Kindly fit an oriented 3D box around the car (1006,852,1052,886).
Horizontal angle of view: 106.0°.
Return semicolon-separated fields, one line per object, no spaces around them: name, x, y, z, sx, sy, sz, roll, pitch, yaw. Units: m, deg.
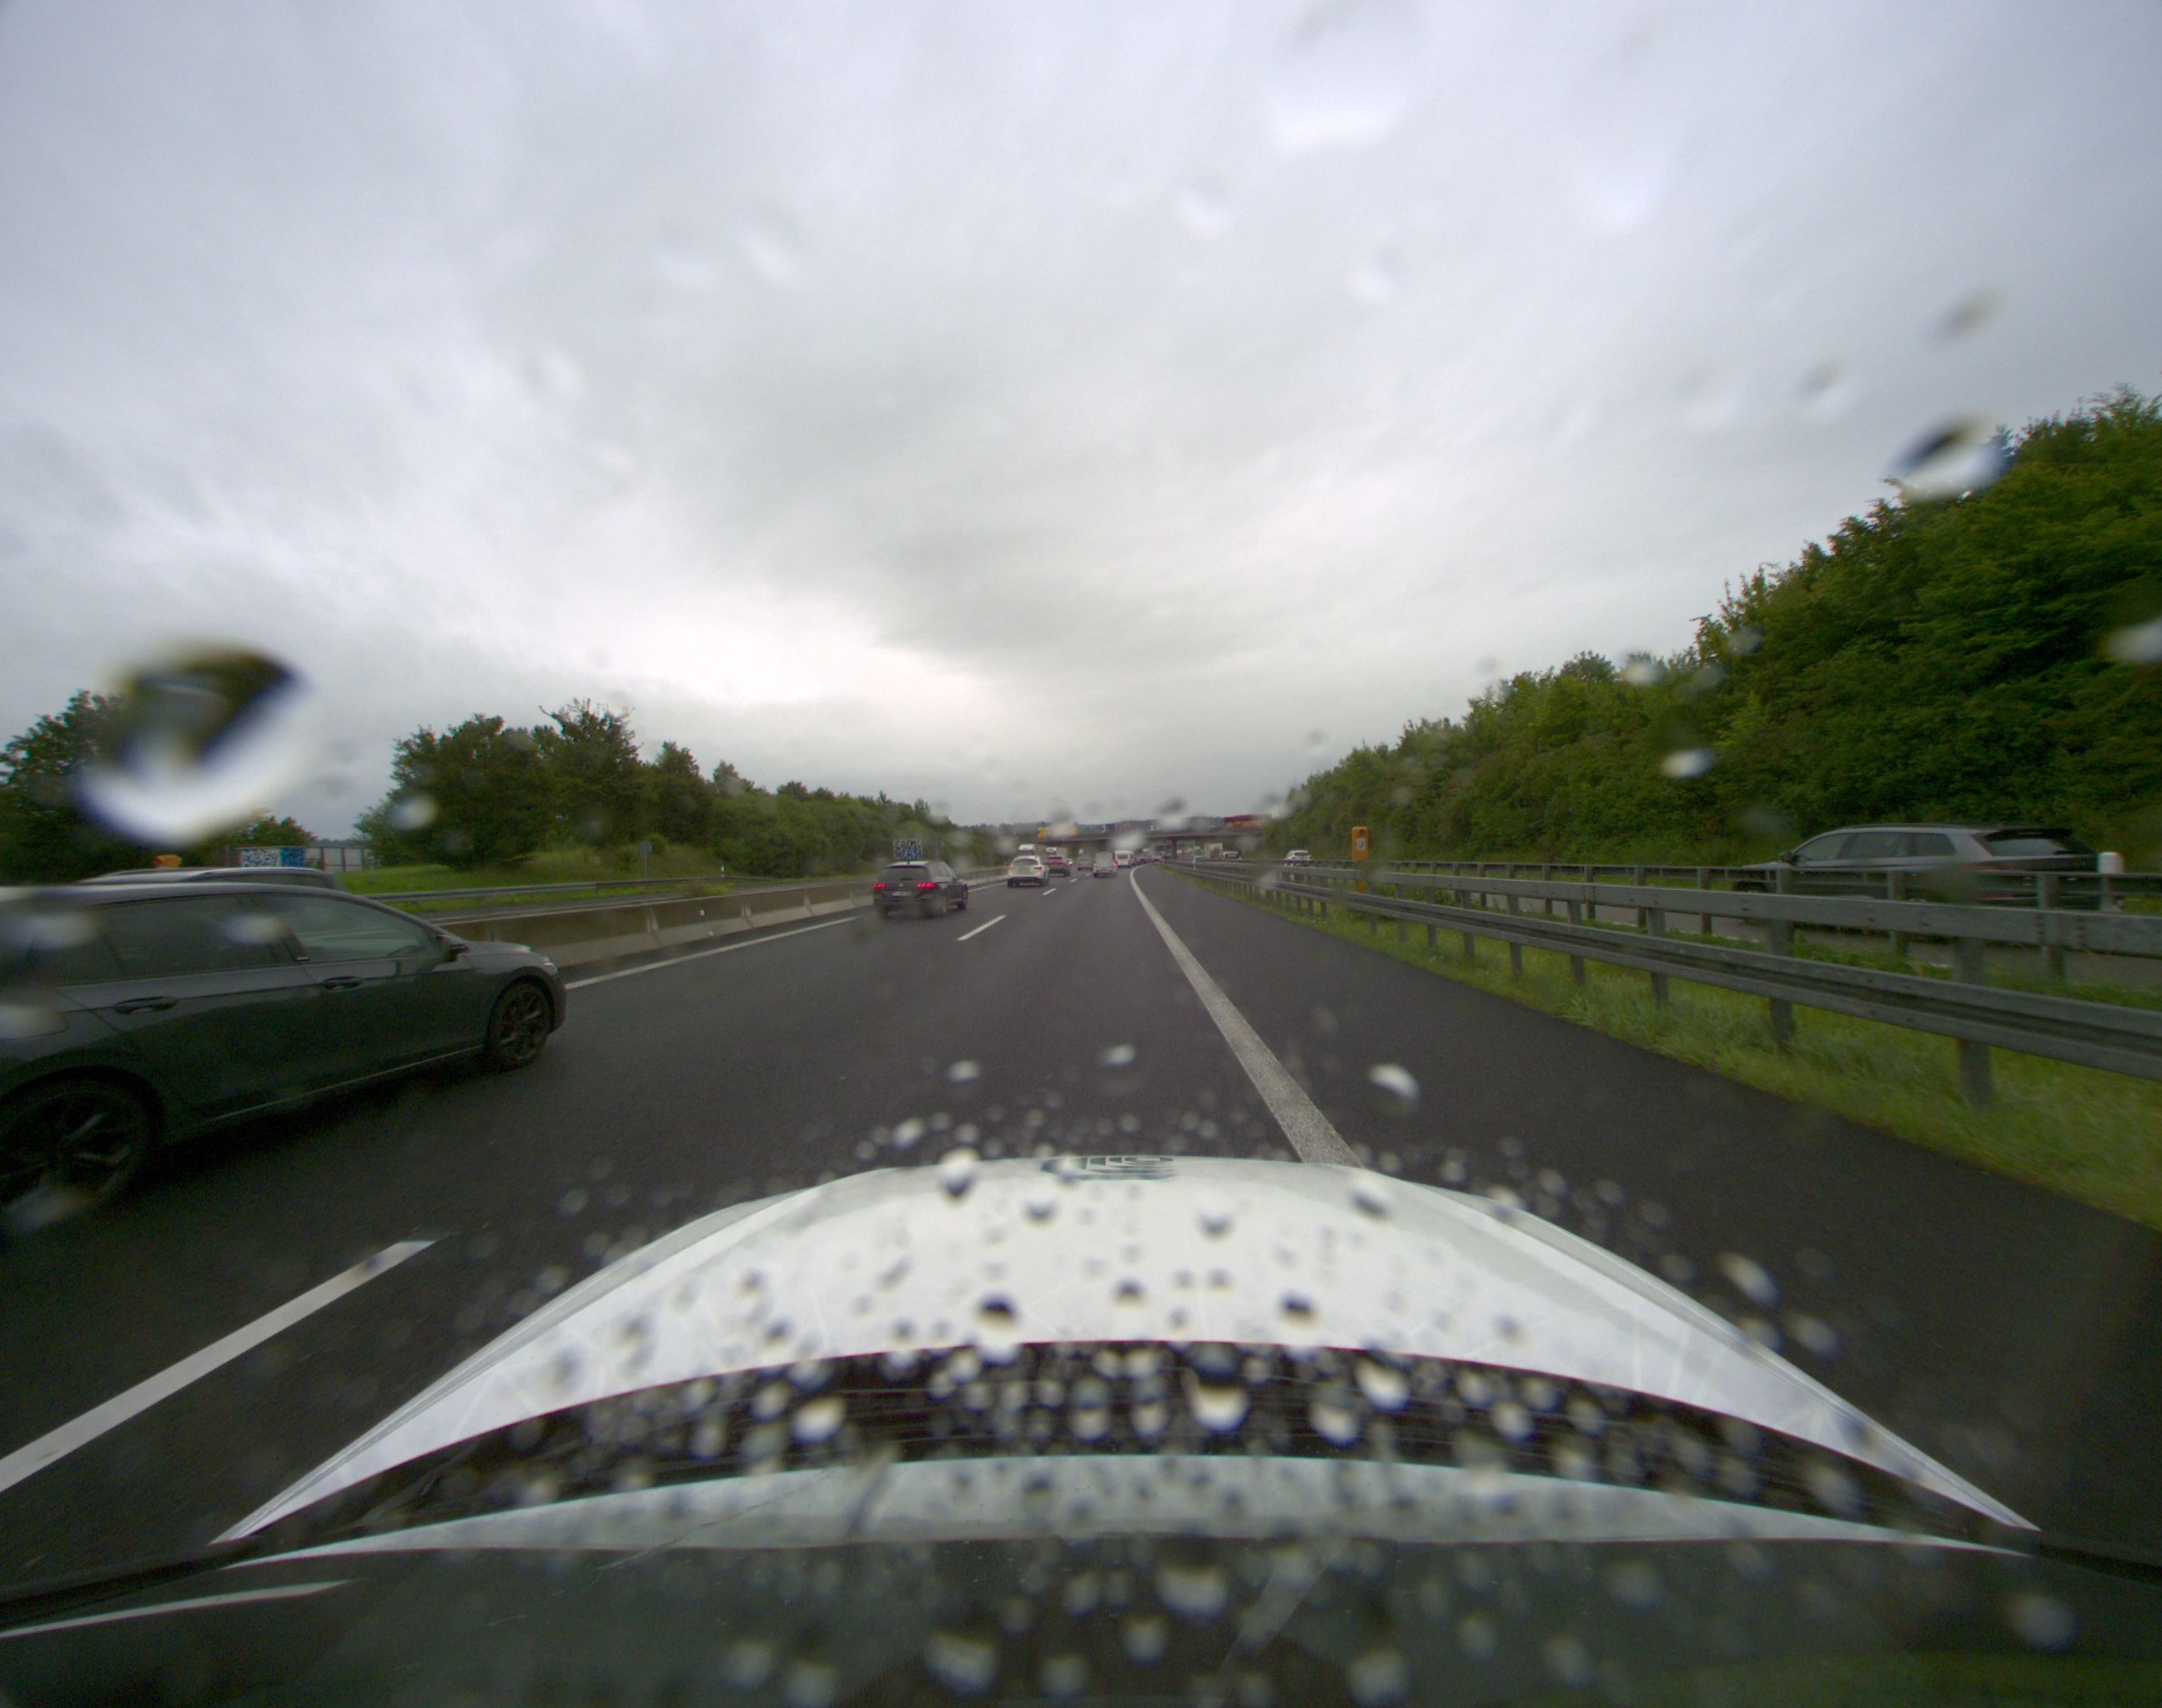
car;-2.747;0.766;43.799;1.969;1.639;4.502;-1;0;2

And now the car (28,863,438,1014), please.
car;-12.699;1.123;12.704;1.987;1.902;4.172;0;0;0

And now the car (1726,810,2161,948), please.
car;12.483;0.305;12.275;2.001;1.655;4.472;-1;0;1

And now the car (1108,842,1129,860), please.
car;5.661;-0.436;122.793;3.004;2.616;6.079;-2;0;3

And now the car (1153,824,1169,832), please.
car;19.991;-6.452;203.603;1.852;1.915;3.955;0;0;-37

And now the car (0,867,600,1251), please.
car;-5.100;0.851;4.664;1.893;1.405;4.461;-1;0;2

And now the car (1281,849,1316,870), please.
car;18.029;0.432;67.561;1.889;1.612;4.147;-1;0;2

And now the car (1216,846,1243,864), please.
car;15.785;0.107;86.610;2.002;1.815;4.274;-1;0;-1

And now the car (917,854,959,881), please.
car;-9.960;0.886;57.145;1.985;1.813;4.176;-1;0;3

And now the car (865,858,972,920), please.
car;-4.365;0.884;22.680;1.894;1.497;4.852;-1;0;1

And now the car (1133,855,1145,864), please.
car;11.818;1.101;166.522;1.988;1.750;3.997;0;0;-2

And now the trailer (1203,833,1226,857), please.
trailer;25.355;-1.647;155.045;3.421;4.289;10.467;-1;0;4

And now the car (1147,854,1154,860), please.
car;20.198;0.776;237.312;1.985;1.750;4.003;-1;0;3

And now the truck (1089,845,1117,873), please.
truck;1.765;0.325;63.395;2.011;1.985;7.216;-1;0;2

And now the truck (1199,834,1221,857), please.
truck;26.117;-1.682;165.442;3.422;4.289;10.430;-1;0;4

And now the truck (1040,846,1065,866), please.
truck;-5.789;0.367;169.514;3.750;3.992;13.199;-1;0;3

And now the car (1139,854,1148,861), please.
car;15.725;0.858;204.946;1.986;1.750;4.002;-1;0;2

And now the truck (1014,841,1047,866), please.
truck;-8.456;-0.104;138.906;3.749;3.992;13.202;-1;0;4

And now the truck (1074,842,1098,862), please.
truck;1.137;-0.361;159.041;3.749;3.554;13.202;-1;0;4

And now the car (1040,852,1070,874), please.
car;-2.058;0.716;66.181;2.166;1.631;4.502;-1;0;1

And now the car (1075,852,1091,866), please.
car;0.243;0.622;99.812;1.894;1.613;4.016;-1;0;0

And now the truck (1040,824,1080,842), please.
truck;-6.238;-6.196;241.063;3.796;4.836;15.076;-1;0;-36

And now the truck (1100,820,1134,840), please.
truck;9.619;-6.397;218.562;3.796;4.836;9.932;-1;0;-36
